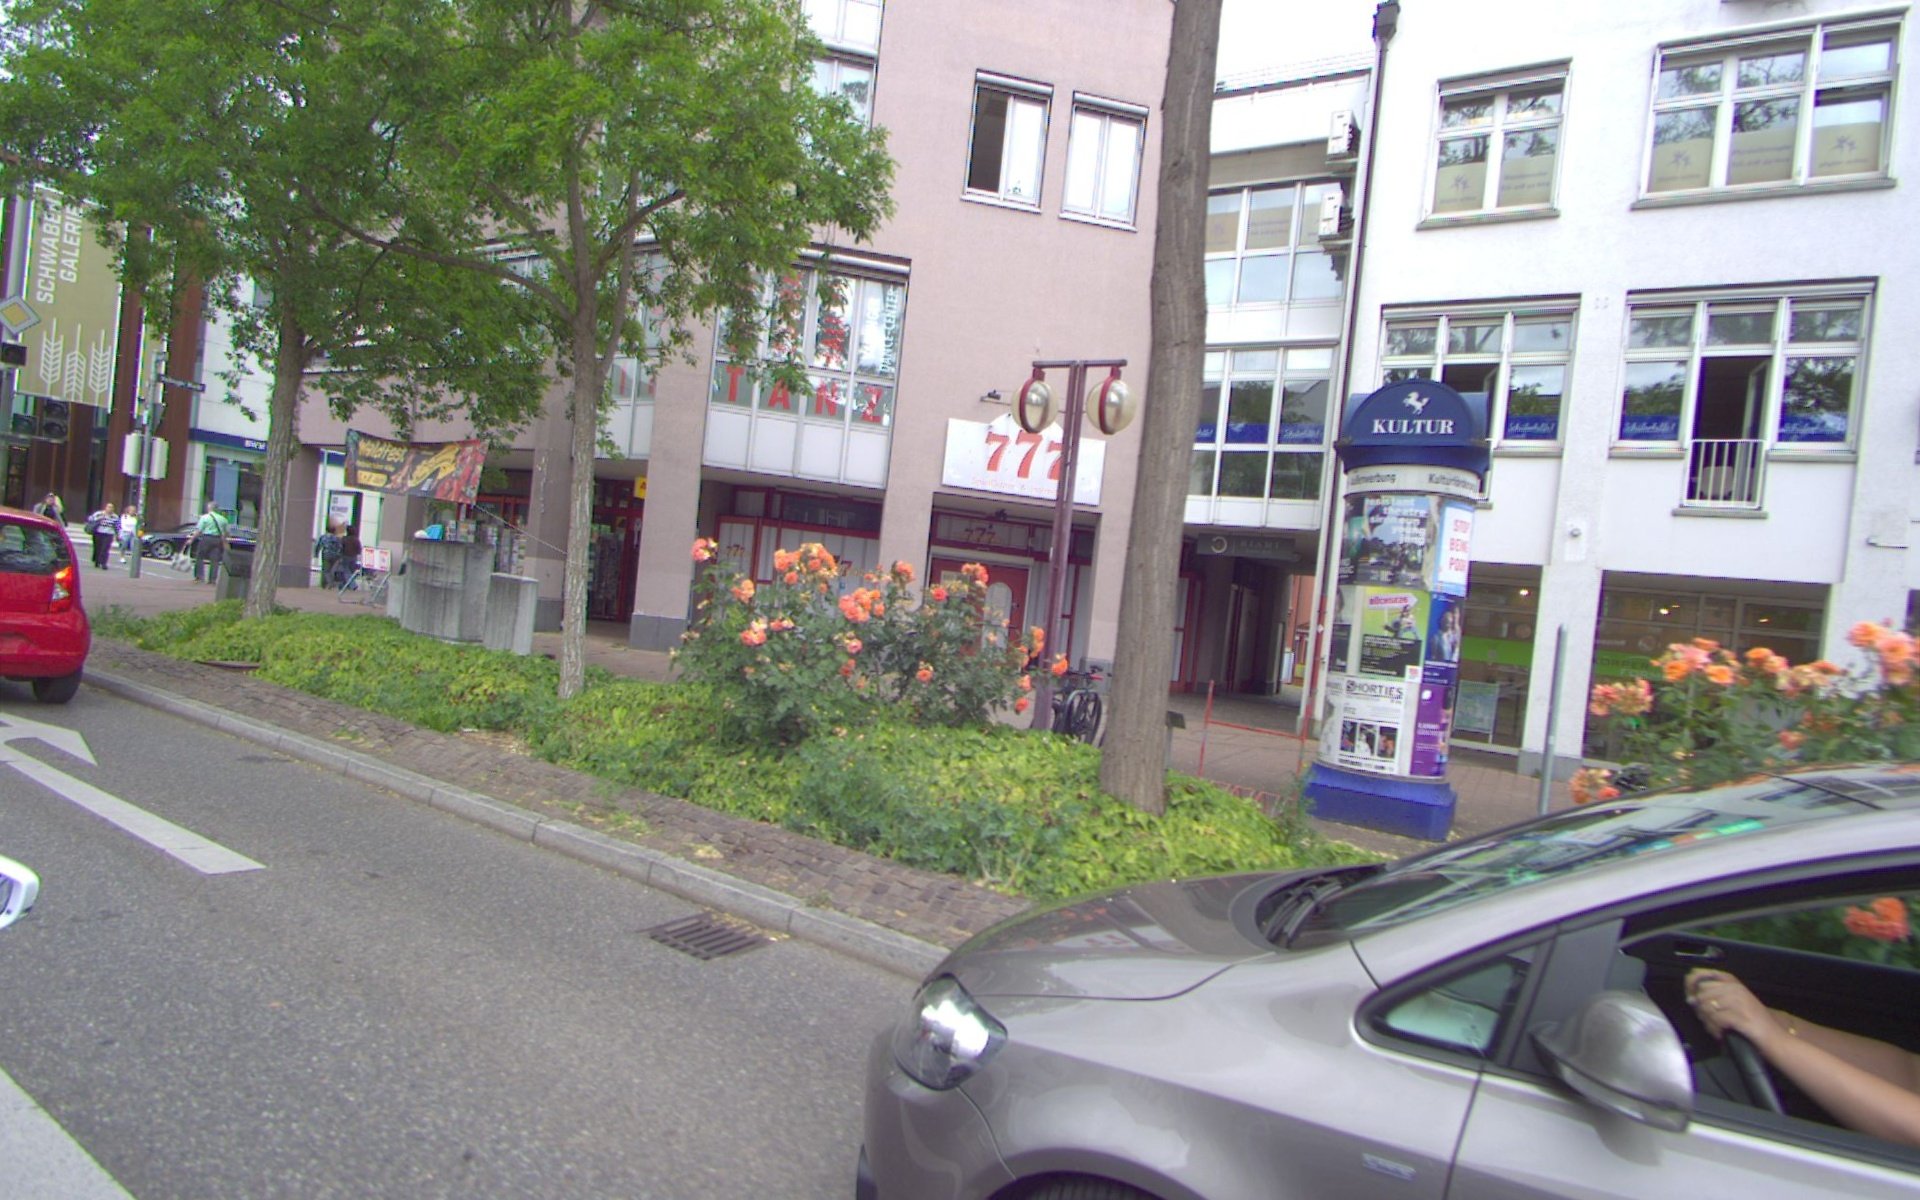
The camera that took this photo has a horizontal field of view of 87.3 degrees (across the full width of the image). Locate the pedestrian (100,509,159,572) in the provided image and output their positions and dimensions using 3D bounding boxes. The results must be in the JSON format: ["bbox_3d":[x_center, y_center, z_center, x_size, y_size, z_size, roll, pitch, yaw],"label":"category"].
[{"bbox_3d":[-23.260,-1.658,28.169,1.021,1.615,0.823,7,0,28],"label":"pedestrian"}]

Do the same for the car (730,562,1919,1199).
[{"bbox_3d":[1.724,0.981,1.810,3.933,1.547,1.801,7,-2,31],"label":"car"}]

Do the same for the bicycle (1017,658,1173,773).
[{"bbox_3d":[1.460,1.246,10.848,1.546,1.061,0.405,7,1,-17],"label":"bicycle"}]

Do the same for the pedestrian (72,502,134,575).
[{"bbox_3d":[-20.929,-1.492,24.569,0.937,1.647,0.742,7,1,28],"label":"pedestrian"}]

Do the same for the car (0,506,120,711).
[{"bbox_3d":[-8.502,-0.129,7.989,3.581,1.465,1.630,7,-2,31],"label":"car"}]

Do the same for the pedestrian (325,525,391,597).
[{"bbox_3d":[-14.716,-0.951,24.590,1.040,1.604,0.832,7,0,27],"label":"pedestrian"}]

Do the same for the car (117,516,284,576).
[{"bbox_3d":[-26.208,-1.819,34.887,1.770,1.421,4.182,7,-1,29],"label":"car"}]

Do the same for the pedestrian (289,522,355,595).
[{"bbox_3d":[-15.096,-0.982,23.816,0.952,1.578,0.831,7,0,27],"label":"pedestrian"}]

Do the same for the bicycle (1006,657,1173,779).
[{"bbox_3d":[1.310,1.199,10.177,1.546,1.061,0.405,7,1,-17],"label":"bicycle"}]

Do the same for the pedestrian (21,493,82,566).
[{"bbox_3d":[-22.572,-1.748,24.999,0.937,1.647,0.742,7,1,28],"label":"pedestrian"}]

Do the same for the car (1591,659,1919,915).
[{"bbox_3d":[8.289,1.708,9.025,4.188,1.827,1.736,7,1,29],"label":"car"}]

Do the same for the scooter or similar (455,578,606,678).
[{"bbox_3d":[-5.667,0.364,13.269,1.852,1.101,0.471,6,1,14],"label":"scooter or similar"}]

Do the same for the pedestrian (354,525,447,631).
[{"bbox_3d":[-9.537,-0.370,17.153,1.075,1.647,0.809,7,1,29],"label":"pedestrian"}]

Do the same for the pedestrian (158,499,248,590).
[{"bbox_3d":[-16.106,-1.176,21.410,1.091,1.736,1.057,7,0,30],"label":"pedestrian"}]

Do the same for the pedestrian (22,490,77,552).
[{"bbox_3d":[-29.087,-2.523,32.126,1.101,1.789,0.880,7,1,29],"label":"pedestrian"}]
